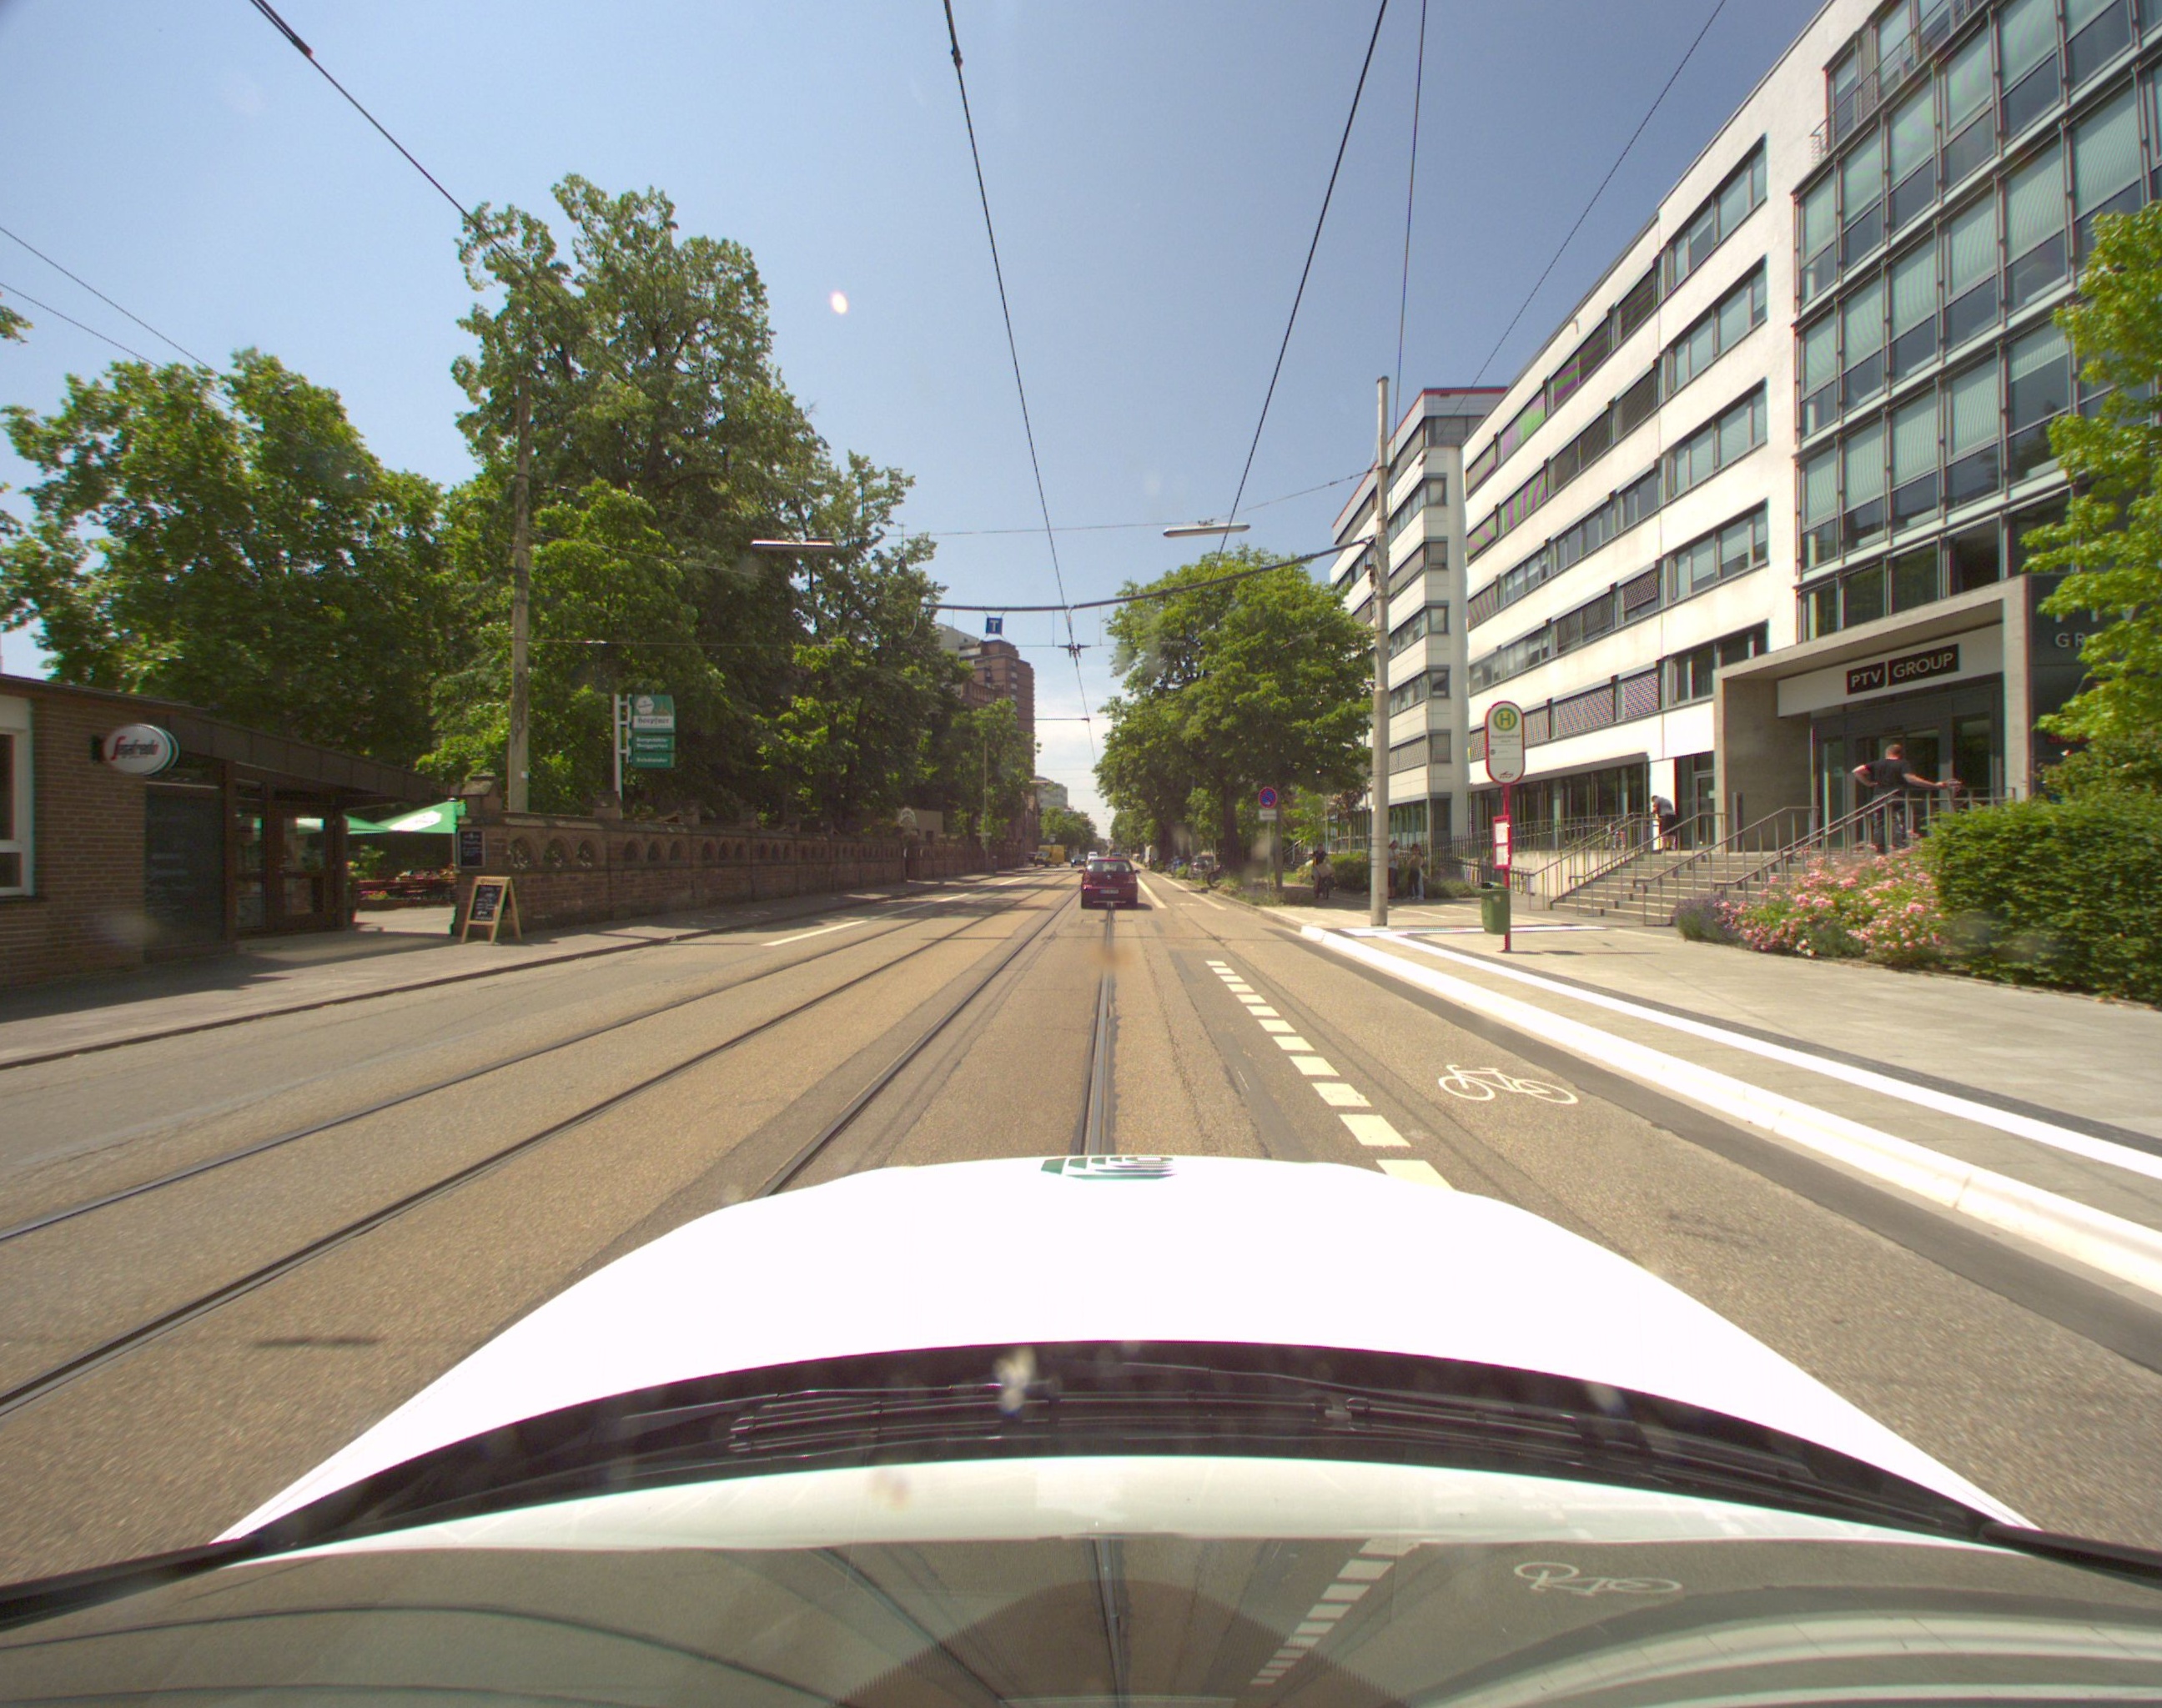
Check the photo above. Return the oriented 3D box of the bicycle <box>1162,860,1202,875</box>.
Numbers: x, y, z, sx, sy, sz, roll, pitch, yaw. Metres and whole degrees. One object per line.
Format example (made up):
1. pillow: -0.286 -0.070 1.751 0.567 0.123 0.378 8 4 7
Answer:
1. bicycle: 7.953 1.061 64.494 3.059 1.154 0.782 1 0 0

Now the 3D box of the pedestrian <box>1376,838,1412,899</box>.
1. pedestrian: 9.392 0.429 24.431 0.681 1.796 0.668 -2 -1 -29

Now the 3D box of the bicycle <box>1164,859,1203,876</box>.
1. bicycle: 8.282 1.053 65.695 3.059 1.313 0.782 1 0 0

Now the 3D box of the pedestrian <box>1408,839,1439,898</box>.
1. pedestrian: 10.080 0.420 23.964 0.540 1.715 0.560 -1 -1 -27

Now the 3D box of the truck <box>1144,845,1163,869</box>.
1. truck: 8.535 0.357 96.525 1.986 2.662 4.878 1 0 2

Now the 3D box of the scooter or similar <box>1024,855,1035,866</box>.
1. scooter or similar: -5.955 0.739 94.068 1.092 1.155 0.524 1 0 -19

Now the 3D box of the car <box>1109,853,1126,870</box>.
1. car: 4.699 0.945 105.726 1.987 2.013 4.000 1 0 0

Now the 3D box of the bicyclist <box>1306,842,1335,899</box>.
1. bicyclist: 7.798 0.531 26.512 0.693 1.799 0.889 -2 -1 5

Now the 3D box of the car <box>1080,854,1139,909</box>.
1. car: 0.851 0.744 24.274 1.613 1.486 4.002 0 0 2

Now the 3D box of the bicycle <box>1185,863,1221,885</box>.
1. bicycle: 6.187 1.008 41.308 1.744 1.085 0.549 0 0 2

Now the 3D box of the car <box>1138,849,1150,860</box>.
1. car: 9.858 0.006 128.125 1.668 1.656 4.002 1 0 2

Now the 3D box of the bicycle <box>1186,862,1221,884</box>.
1. bicycle: 6.289 0.987 41.937 1.744 1.085 0.549 0 0 2

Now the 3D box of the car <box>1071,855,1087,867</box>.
1. car: -0.226 0.835 98.464 1.763 1.516 4.002 0 0 2

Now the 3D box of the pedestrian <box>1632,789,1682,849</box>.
1. pedestrian: 16.908 -1.011 23.927 0.874 1.716 0.808 1 0 1

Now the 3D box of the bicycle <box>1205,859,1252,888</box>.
1. bicycle: 6.250 0.835 34.623 1.876 1.182 0.694 -1 -1 2

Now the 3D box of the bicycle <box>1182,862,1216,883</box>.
1. bicycle: 6.176 0.984 42.720 1.744 1.085 0.549 0 0 2

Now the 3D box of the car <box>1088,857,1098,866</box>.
1. car: 2.507 1.539 166.102 1.986 1.854 4.684 0 0 2

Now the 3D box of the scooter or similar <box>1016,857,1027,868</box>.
1. scooter or similar: -6.602 0.917 90.631 1.092 1.155 0.524 1 0 -19

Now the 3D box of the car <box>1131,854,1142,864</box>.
1. car: 9.906 0.940 145.459 1.668 1.656 4.002 1 0 2

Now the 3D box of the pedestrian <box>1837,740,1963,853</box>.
1. pedestrian: 13.123 -0.895 13.083 0.874 1.715 1.086 -2 -1 -10

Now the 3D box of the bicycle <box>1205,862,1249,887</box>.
1. bicycle: 6.400 0.902 35.782 1.816 1.085 0.719 -1 -1 5

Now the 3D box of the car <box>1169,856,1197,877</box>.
1. car: 7.348 0.857 58.954 1.682 1.468 3.881 0 0 2

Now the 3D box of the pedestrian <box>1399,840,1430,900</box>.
1. pedestrian: 9.674 0.463 23.610 0.540 1.715 0.560 -1 -1 -27

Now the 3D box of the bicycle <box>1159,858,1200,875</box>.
1. bicycle: 8.130 1.012 67.277 3.356 1.313 0.782 1 0 0

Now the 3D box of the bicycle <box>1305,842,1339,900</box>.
1. bicycle: 7.788 0.538 26.409 0.686 1.785 1.813 -2 -1 5

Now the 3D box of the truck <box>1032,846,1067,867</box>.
1. truck: -4.203 0.339 109.576 2.351 2.787 7.353 0 0 18

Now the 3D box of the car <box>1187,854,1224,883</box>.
1. car: 7.123 0.808 46.796 1.682 1.503 3.629 -2 0 2

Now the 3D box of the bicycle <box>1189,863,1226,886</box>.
1. bicycle: 6.127 0.999 39.538 1.744 1.085 0.549 0 0 2

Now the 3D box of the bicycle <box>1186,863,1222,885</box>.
1. bicycle: 6.154 0.997 40.701 1.744 1.085 0.549 0 0 2

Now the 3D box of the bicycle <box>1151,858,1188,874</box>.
1. bicycle: 7.553 0.996 69.569 3.059 1.313 0.782 1 0 0

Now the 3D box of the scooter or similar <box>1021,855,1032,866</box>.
1. scooter or similar: -6.222 0.742 93.340 1.092 1.155 0.524 1 0 -19
